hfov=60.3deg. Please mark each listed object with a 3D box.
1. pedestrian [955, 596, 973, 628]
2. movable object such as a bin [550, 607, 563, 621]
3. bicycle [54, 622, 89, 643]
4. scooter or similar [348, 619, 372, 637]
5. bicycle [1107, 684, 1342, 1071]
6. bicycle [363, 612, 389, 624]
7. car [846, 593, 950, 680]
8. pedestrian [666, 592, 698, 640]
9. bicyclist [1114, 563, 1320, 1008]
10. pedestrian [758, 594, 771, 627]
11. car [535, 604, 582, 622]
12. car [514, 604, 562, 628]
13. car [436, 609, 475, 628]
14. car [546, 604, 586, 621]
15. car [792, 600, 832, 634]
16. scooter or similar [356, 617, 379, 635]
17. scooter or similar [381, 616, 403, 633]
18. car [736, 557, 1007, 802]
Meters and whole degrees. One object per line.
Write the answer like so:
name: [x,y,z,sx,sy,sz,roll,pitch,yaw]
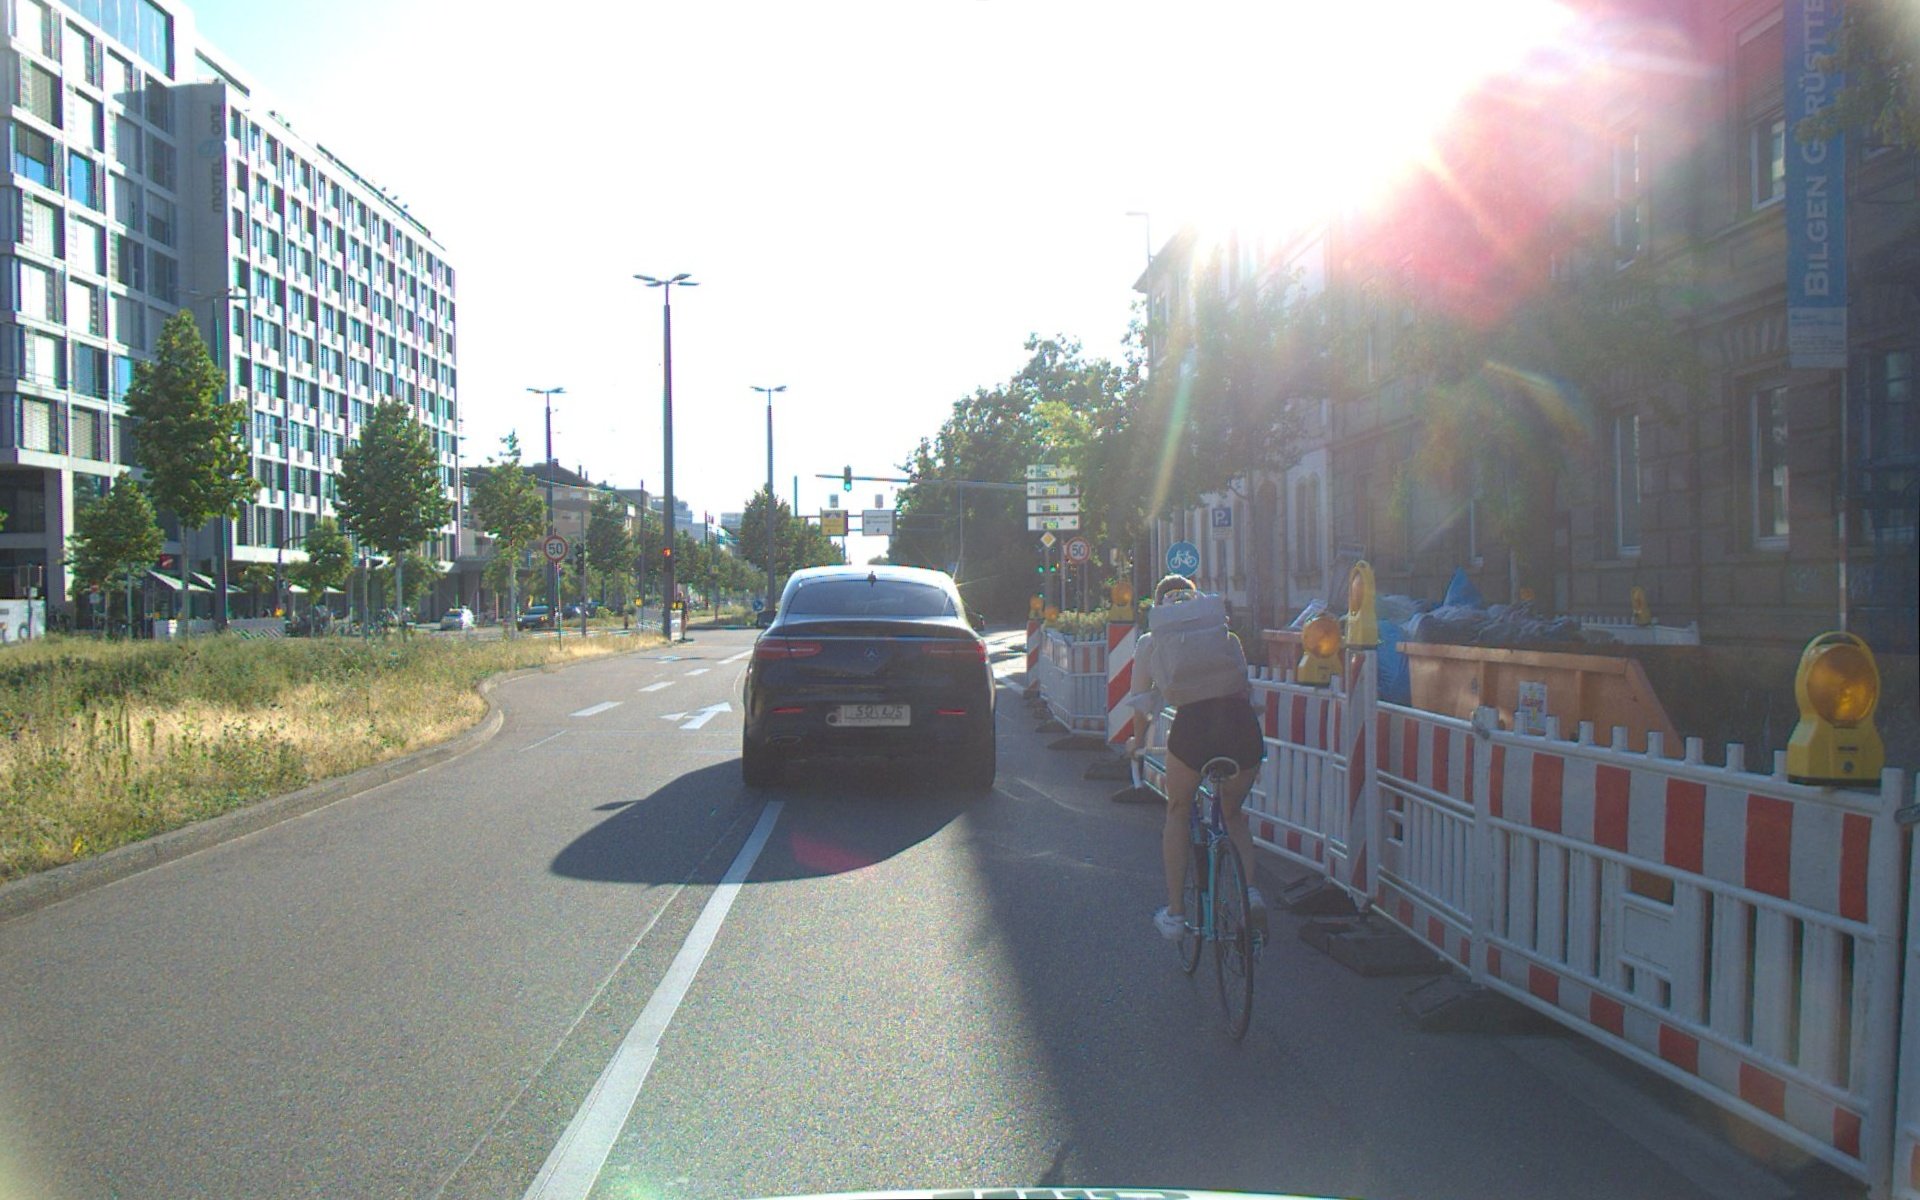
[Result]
pedestrian: [0.220,0.622,88.365,0.753,1.665,0.767,-3,0,-12]
movable object such as a bin: [-37.494,1.324,153.776,0.839,1.303,0.940,-1,0,12]
bicycle: [-42.729,1.546,79.562,0.606,0.952,2.215,-1,0,-3]
scooter or similar: [-35.623,1.659,98.243,1.218,1.037,0.510,-1,0,-2]
bicycle: [0.929,0.935,6.217,0.510,1.116,1.842,-1,0,-2]
bicycle: [-43.929,1.342,124.358,1.771,0.921,0.511,-1,0,-9]
car: [-1.225,0.656,31.850,1.859,1.554,4.056,0,0,-3]
pedestrian: [-9.837,0.555,58.580,0.904,1.678,0.766,-1,0,9]
bicyclist: [0.932,0.629,6.205,0.541,1.517,1.080,-1,0,-3]
pedestrian: [-10.482,0.548,88.770,0.586,1.729,0.714,-1,0,3]
car: [-38.586,1.232,159.031,4.064,1.629,1.722,2,0,-44]
car: [-25.225,0.932,98.947,1.853,1.367,4.847,-1,0,-3]
car: [-36.470,1.334,119.687,1.721,1.351,3.998,1,0,-2]
car: [-38.718,1.254,162.582,3.597,1.550,1.595,2,-1,-44]
car: [-7.343,0.809,82.298,1.848,1.608,3.998,0,1,-3]
scooter or similar: [-35.714,1.550,99.767,1.218,1.037,0.435,-1,0,-2]
scooter or similar: [-35.827,1.549,104.309,1.218,1.037,0.435,-1,0,-2]
car: [-0.749,0.554,13.971,1.954,1.765,3.998,0,1,-3]
